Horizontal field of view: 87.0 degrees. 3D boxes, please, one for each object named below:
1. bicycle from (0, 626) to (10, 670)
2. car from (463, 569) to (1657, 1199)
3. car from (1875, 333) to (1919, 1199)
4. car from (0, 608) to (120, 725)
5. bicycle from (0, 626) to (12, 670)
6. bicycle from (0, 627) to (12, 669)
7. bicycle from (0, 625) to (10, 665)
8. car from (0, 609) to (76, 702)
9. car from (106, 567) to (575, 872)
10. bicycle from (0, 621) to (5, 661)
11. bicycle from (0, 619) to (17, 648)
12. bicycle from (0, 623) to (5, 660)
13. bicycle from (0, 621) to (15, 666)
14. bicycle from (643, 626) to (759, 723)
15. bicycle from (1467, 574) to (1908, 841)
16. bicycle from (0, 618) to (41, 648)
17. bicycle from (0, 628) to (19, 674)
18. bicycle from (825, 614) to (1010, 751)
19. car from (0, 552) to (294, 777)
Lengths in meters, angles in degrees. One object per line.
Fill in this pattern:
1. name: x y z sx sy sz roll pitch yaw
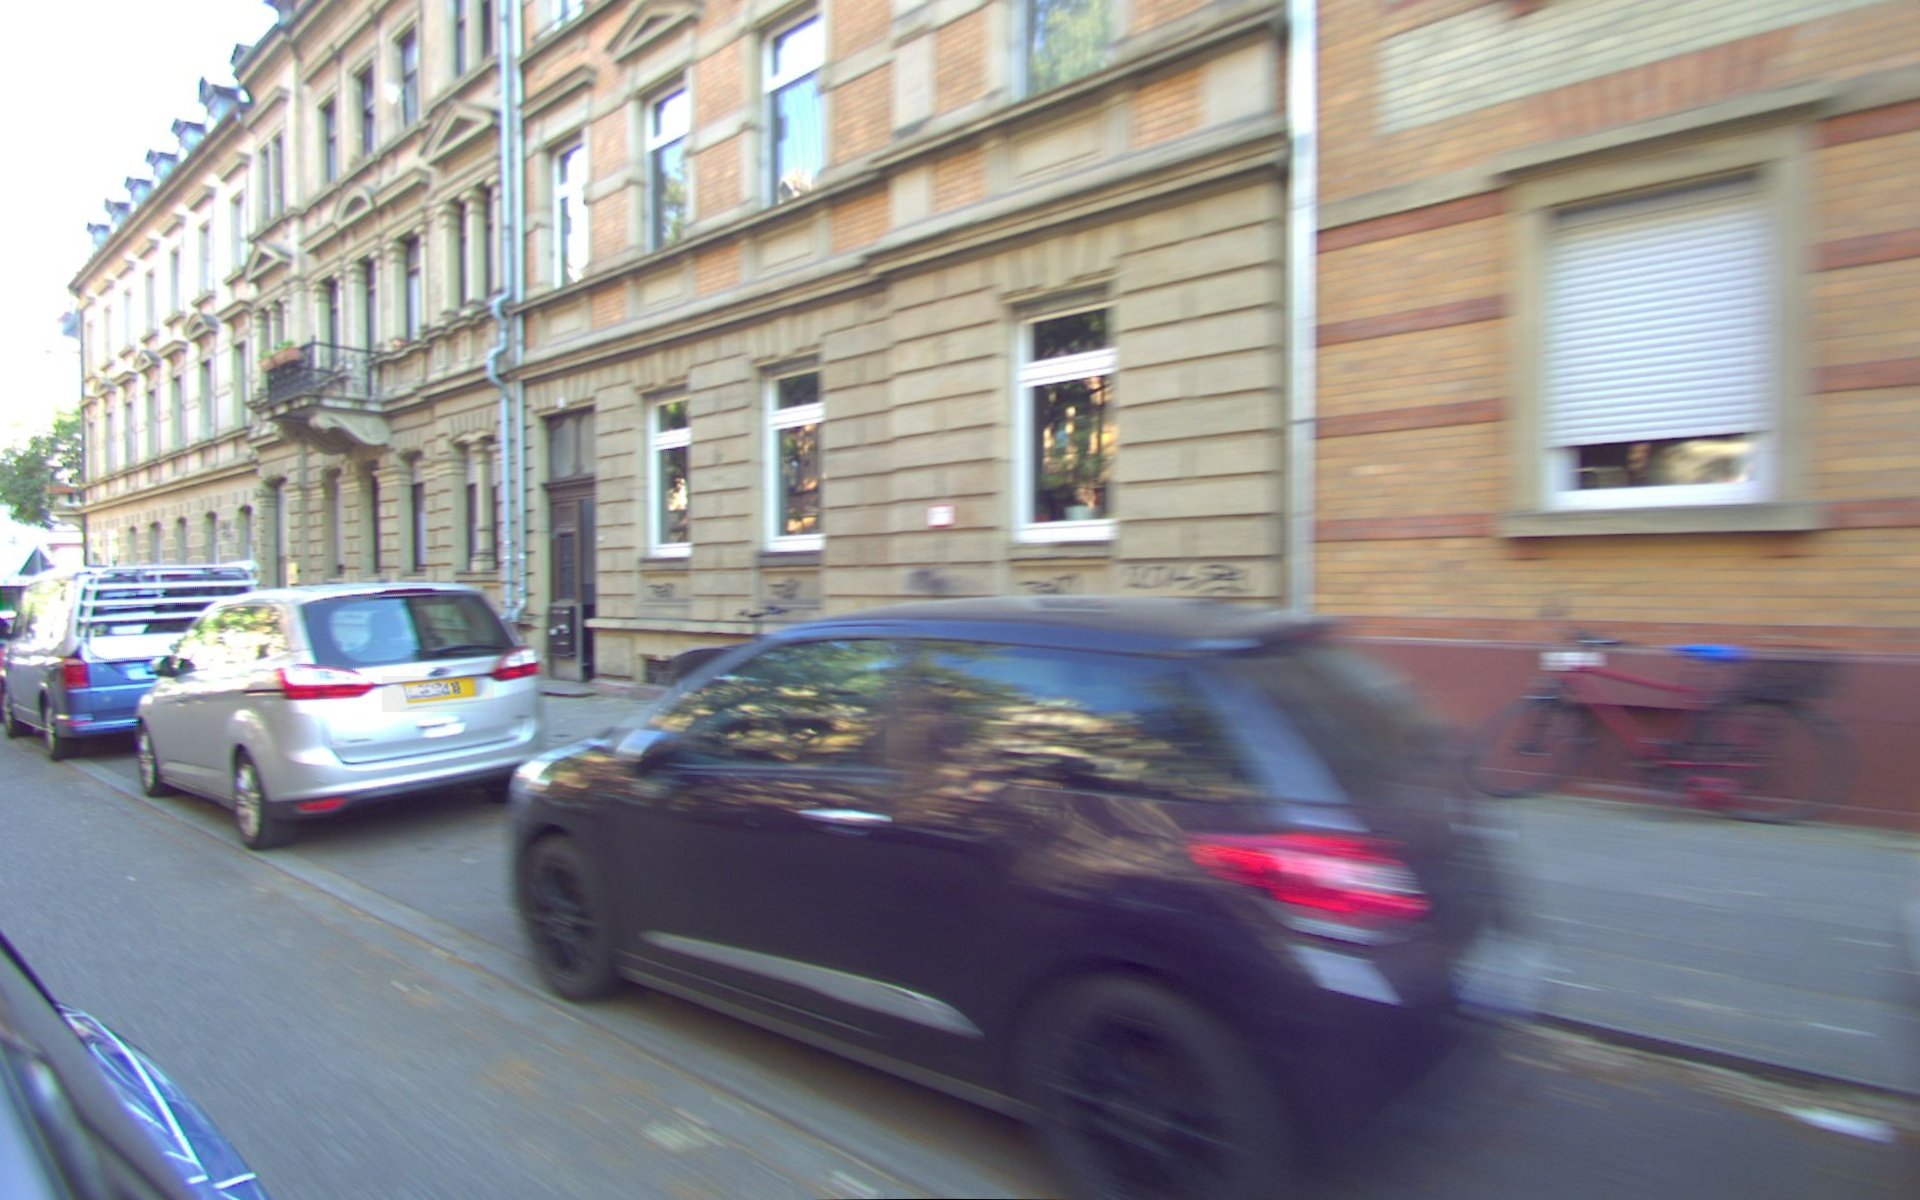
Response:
1. bicycle: -25.502 1.276 25.656 0.587 1.106 2.017 -1 1 42
2. car: 0.020 0.675 3.489 3.820 1.432 1.621 -1 1 39
3. car: 3.637 0.387 0.486 4.602 1.847 1.824 -1 1 39
4. car: -13.948 0.912 15.000 3.822 1.502 1.620 -1 1 40
5. bicycle: -25.083 1.254 25.261 0.499 1.106 2.017 -1 1 42
6. bicycle: -25.984 1.294 26.231 0.499 1.106 2.017 -1 1 42
7. bicycle: -27.973 1.309 28.292 0.499 1.106 2.017 -1 1 42
8. car: -17.287 0.960 18.118 3.822 1.502 1.620 -1 1 40
9. car: -4.798 0.660 7.588 4.154 1.670 1.749 -1 1 40
10. bicycle: -26.981 1.154 27.072 0.499 1.106 2.017 -1 1 42
11. bicycle: -37.682 1.322 38.928 2.013 1.106 0.500 -2 1 -41
12. bicycle: -29.401 1.270 29.652 0.499 1.106 2.017 -1 1 42
13. bicycle: -24.683 1.118 24.907 0.587 1.106 2.017 -1 1 42
14. bicycle: -2.831 0.785 11.004 1.390 0.976 0.459 -1 0 38
15. bicycle: 3.925 0.520 5.623 1.907 1.266 0.489 -1 1 39
16. bicycle: -38.050 1.328 40.342 2.012 1.106 0.500 -2 1 -38
17. bicycle: -24.181 1.292 24.468 0.587 1.106 2.017 -1 1 42
18. bicycle: -0.407 0.683 8.923 1.725 1.104 0.459 -1 0 38
19. car: -9.581 0.596 11.620 4.741 2.072 1.923 -1 1 40
